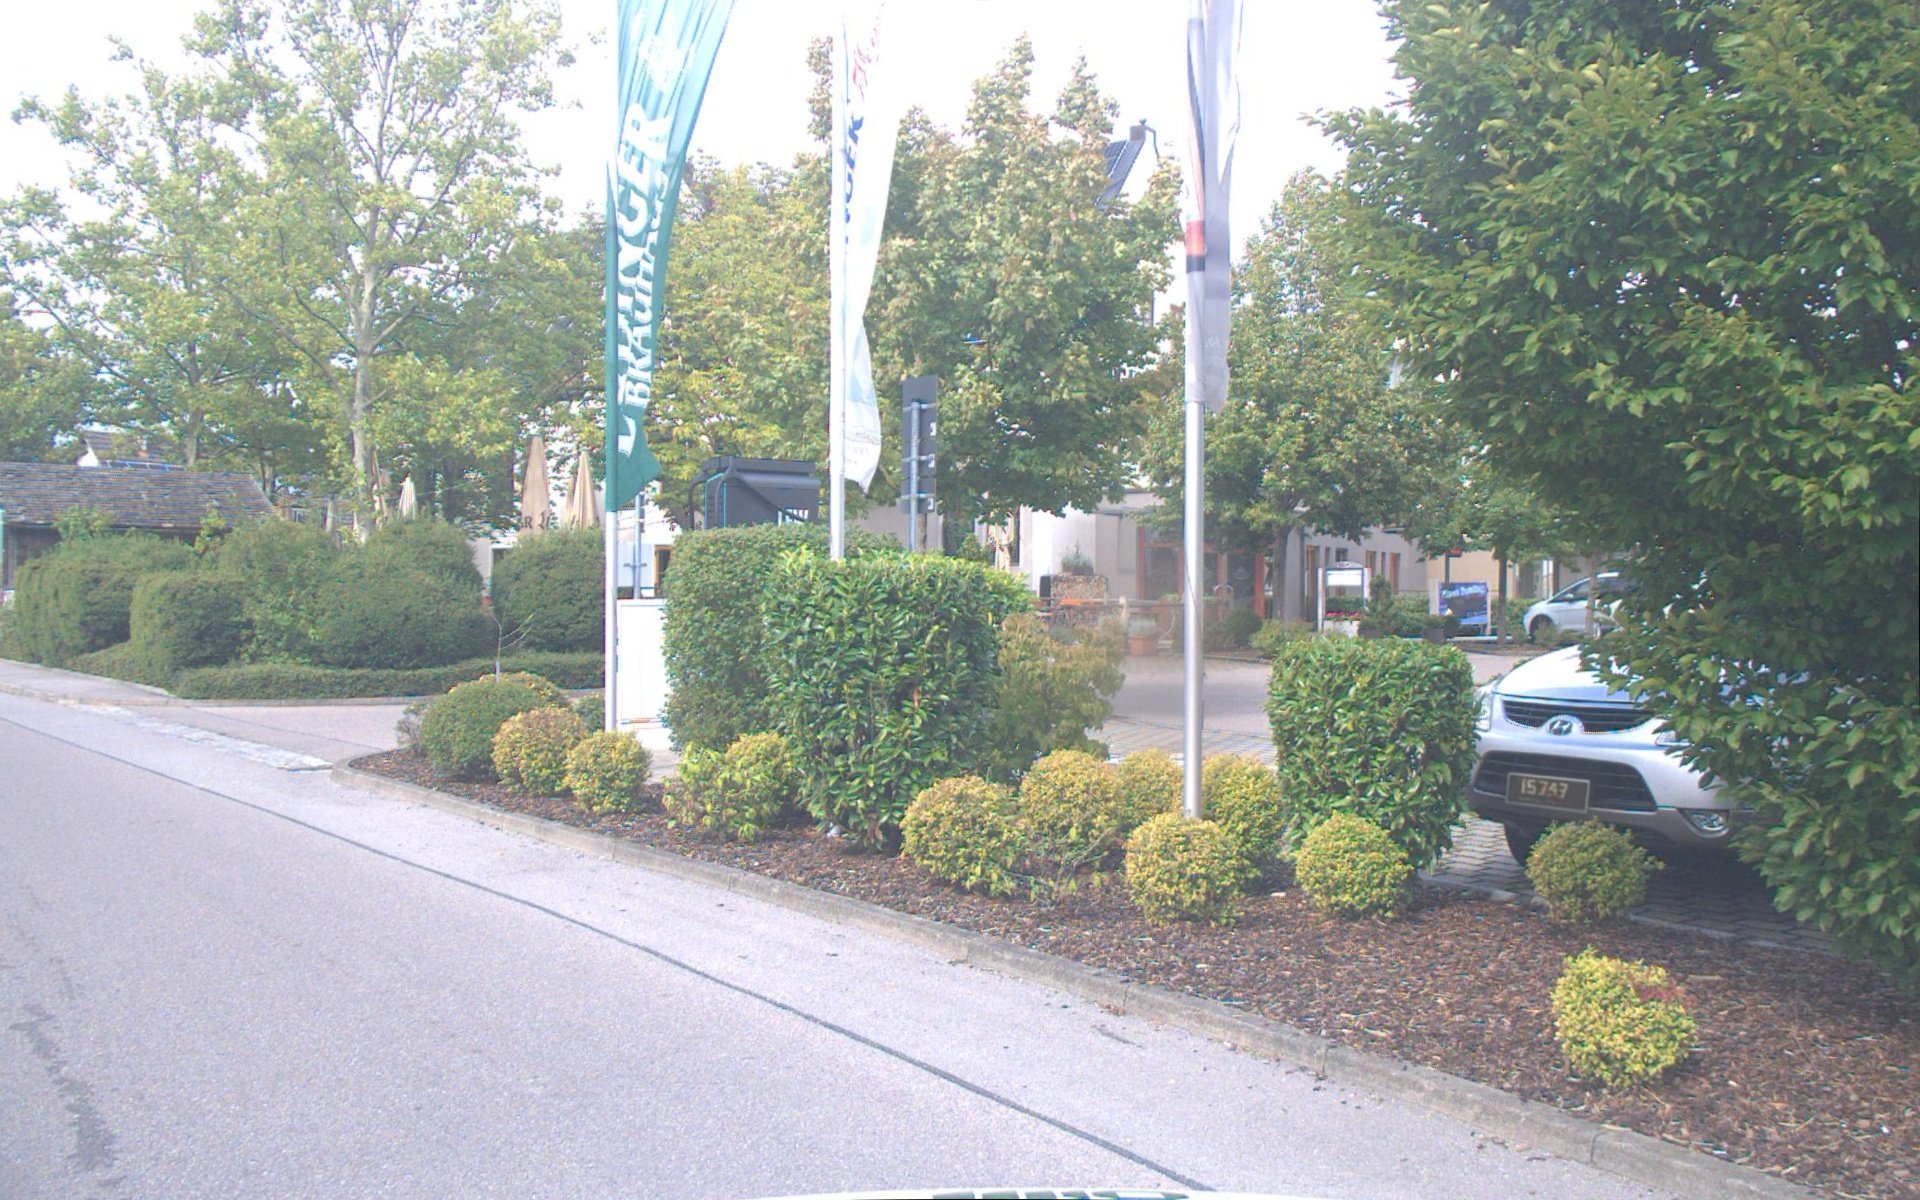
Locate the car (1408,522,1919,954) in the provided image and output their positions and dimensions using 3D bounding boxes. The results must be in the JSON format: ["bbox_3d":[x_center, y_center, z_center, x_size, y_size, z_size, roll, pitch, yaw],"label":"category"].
[{"bbox_3d":[4.720,0.510,8.567,4.613,1.726,1.901,-1,0,-29],"label":"car"}]

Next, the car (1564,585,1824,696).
[{"bbox_3d":[9.775,0.496,21.981,3.329,1.375,1.612,0,0,-32],"label":"car"}]

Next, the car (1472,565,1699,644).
[{"bbox_3d":[14.680,0.090,39.090,1.728,1.741,5.022,0,0,-32],"label":"car"}]
